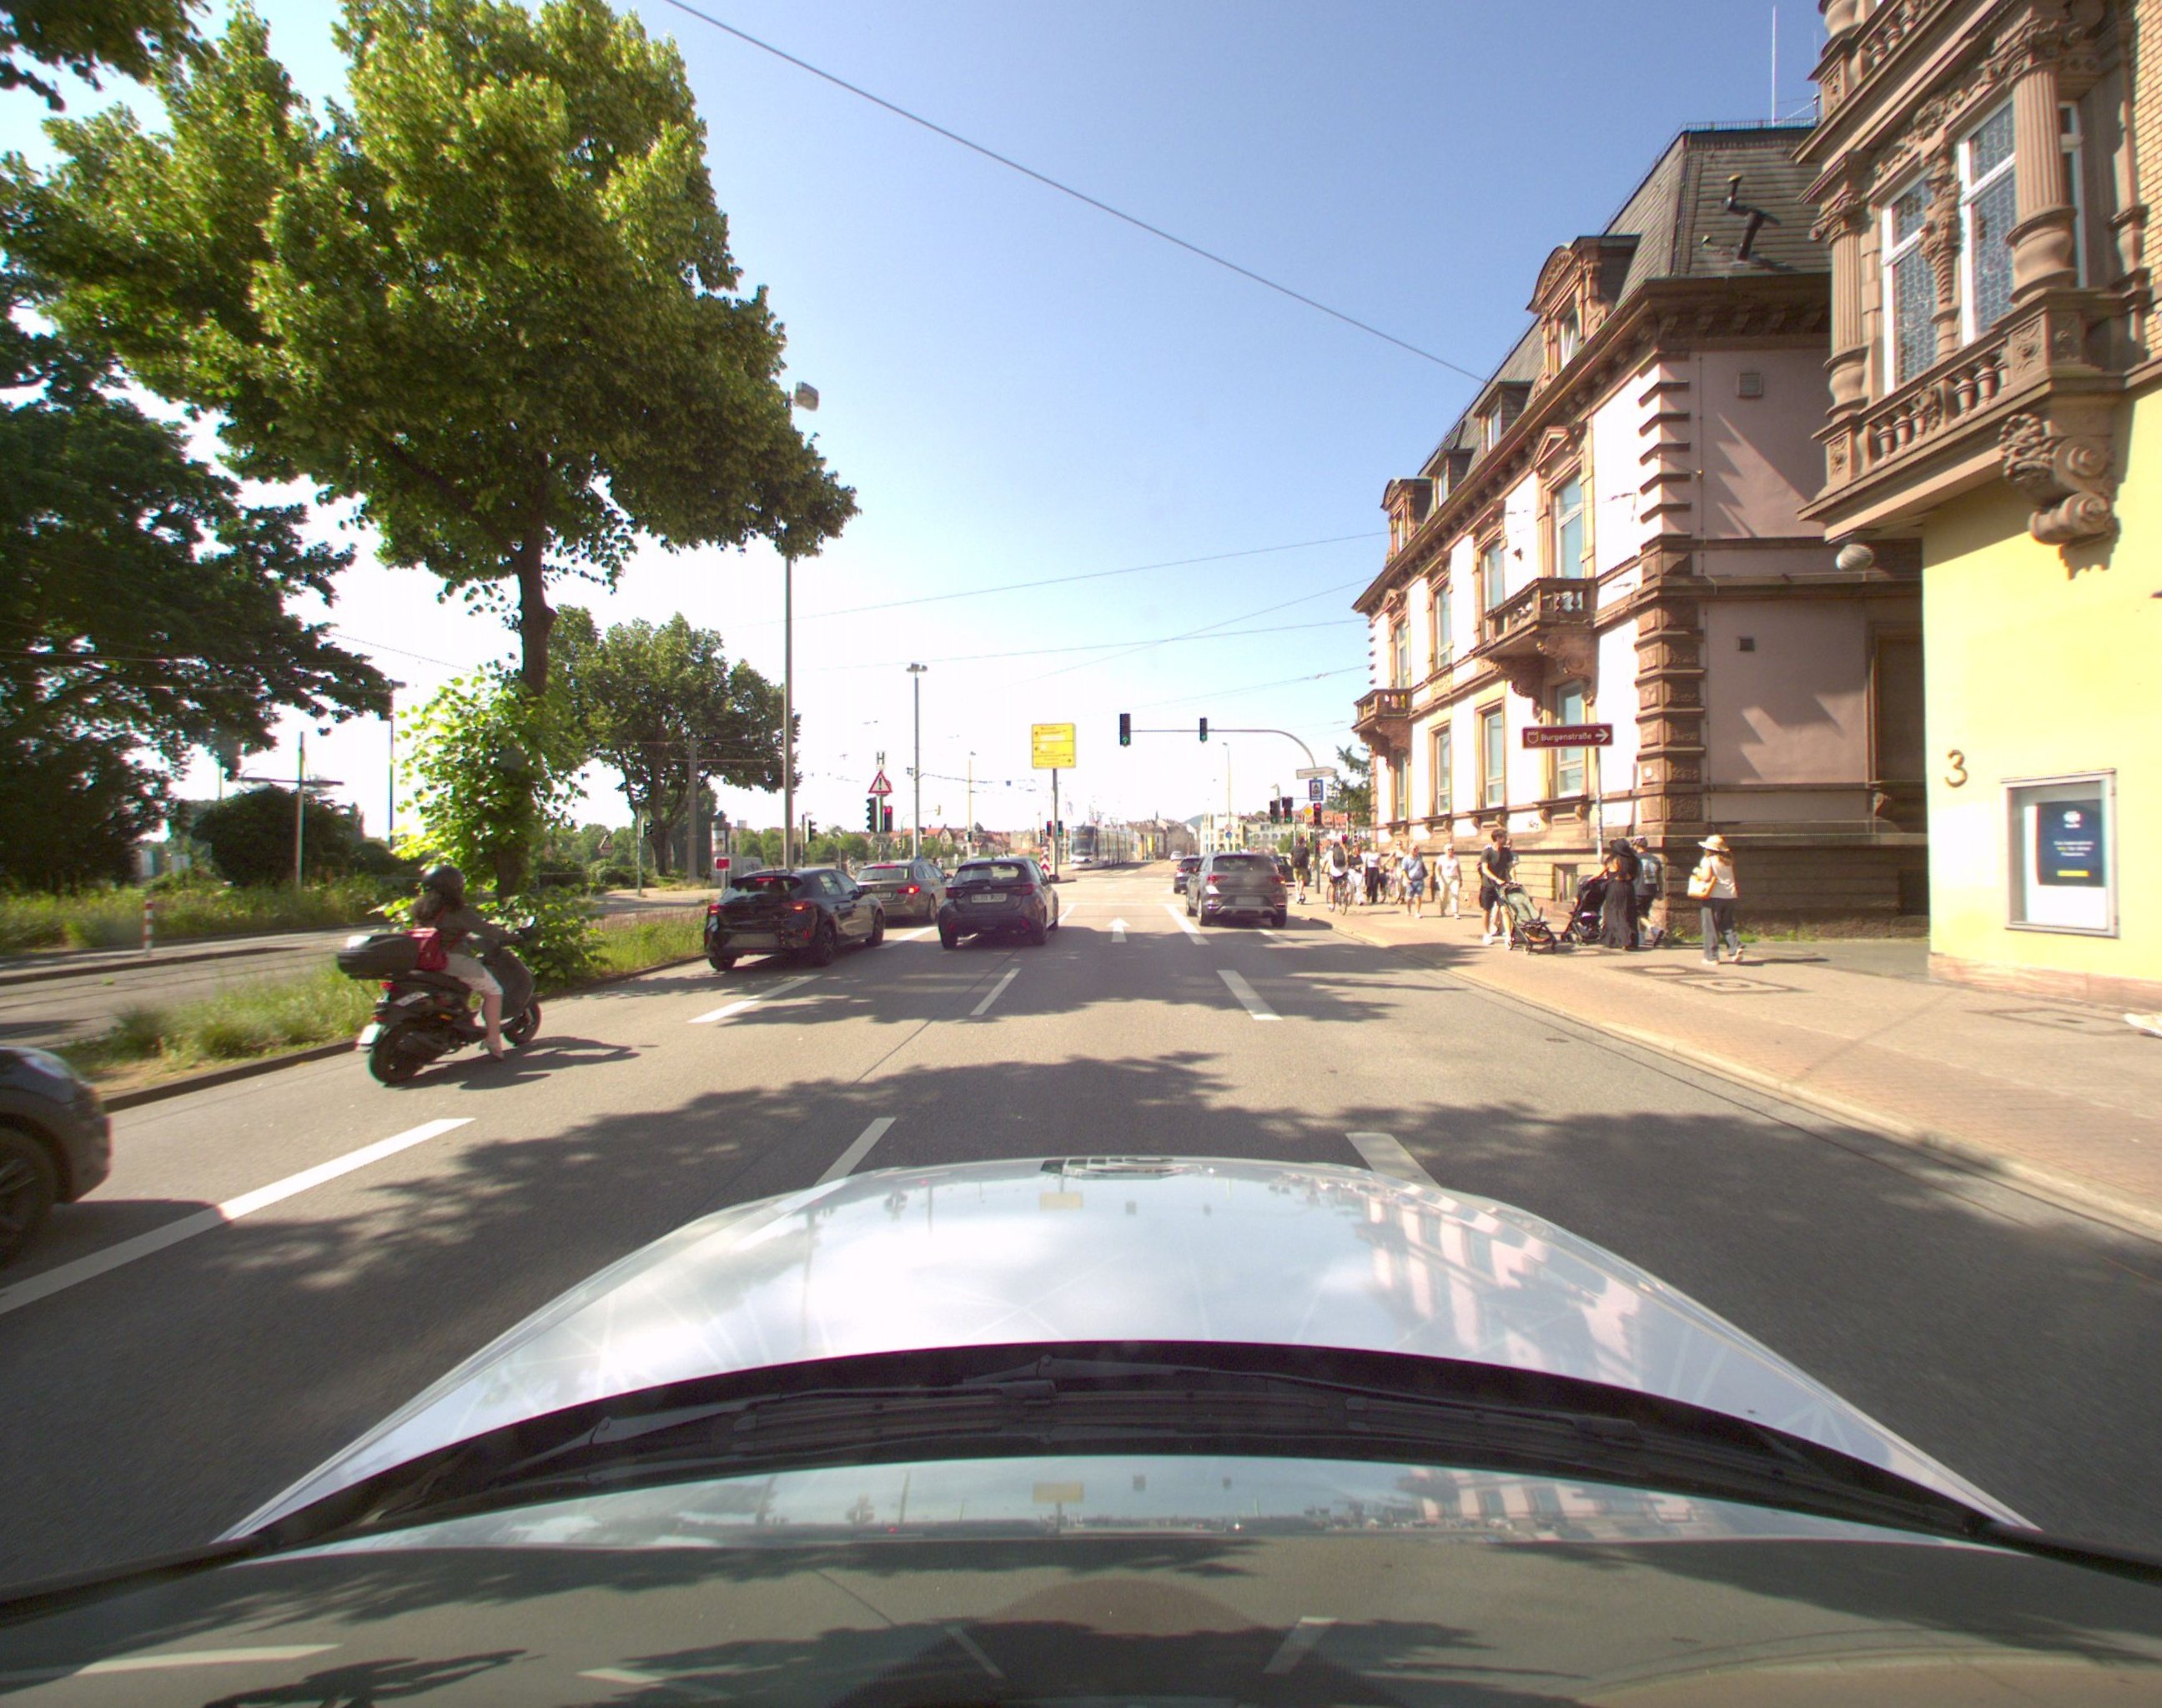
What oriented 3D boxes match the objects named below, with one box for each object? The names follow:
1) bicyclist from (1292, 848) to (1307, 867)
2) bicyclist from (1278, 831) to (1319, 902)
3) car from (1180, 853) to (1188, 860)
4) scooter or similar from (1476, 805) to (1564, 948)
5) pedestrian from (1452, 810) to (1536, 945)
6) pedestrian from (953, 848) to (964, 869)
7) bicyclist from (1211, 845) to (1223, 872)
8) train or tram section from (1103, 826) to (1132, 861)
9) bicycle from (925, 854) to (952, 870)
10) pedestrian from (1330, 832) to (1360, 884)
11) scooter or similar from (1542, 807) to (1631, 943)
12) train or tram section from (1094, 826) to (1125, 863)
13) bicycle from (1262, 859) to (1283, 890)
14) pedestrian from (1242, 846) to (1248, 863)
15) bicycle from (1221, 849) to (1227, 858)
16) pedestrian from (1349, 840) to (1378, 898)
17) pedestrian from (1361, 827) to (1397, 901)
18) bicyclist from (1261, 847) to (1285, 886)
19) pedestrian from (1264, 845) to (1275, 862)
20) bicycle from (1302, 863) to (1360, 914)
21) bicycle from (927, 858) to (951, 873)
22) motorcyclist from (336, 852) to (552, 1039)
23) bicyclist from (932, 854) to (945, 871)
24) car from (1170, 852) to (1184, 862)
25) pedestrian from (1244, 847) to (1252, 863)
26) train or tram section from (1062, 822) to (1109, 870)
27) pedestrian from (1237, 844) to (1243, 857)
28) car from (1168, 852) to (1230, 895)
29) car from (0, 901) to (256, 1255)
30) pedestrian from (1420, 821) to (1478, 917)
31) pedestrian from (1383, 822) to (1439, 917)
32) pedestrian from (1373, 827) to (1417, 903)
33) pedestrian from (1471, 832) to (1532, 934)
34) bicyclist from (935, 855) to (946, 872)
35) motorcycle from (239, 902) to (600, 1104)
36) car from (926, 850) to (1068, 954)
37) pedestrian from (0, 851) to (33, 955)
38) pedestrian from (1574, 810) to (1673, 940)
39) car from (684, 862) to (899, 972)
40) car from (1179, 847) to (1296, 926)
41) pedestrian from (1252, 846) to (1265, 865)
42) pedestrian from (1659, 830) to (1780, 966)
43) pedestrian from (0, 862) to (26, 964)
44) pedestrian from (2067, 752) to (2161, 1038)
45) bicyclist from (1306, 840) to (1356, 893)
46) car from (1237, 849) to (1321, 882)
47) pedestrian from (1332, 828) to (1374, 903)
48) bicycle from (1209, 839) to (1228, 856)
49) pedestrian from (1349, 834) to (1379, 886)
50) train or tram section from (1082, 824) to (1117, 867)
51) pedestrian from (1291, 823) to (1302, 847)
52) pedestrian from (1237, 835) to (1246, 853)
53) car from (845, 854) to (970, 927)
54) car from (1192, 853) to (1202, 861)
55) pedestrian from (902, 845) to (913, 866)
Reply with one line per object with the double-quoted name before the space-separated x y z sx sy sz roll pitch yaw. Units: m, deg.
"bicyclist" 16.758 0.256 62.563 1.073 1.474 0.803 1 1 11
"bicyclist" 6.329 0.370 23.755 0.938 2.013 0.830 -1 0 1
"car" 25.935 0.742 205.468 1.984 1.717 4.006 0 -1 5
"scooter or similar" 6.481 0.318 12.073 0.689 2.013 1.096 -1 0 2
"pedestrian" 6.515 0.359 12.884 0.809 2.013 0.816 -3 0 1
"pedestrian" -11.530 0.430 76.636 0.900 2.013 0.830 -1 0 -15
"bicyclist" 8.792 0.304 52.661 0.670 1.744 1.151 -1 0 3
"train or tram section" 4.375 -1.259 96.482 2.457 3.777 11.874 -1 1 7
"bicycle" -12.114 0.660 69.172 2.241 1.279 0.736 -2 0 -15
"pedestrian" 9.073 0.152 28.041 0.703 1.753 0.903 -1 -1 1
"scooter or similar" 7.887 0.312 12.746 0.689 2.013 1.096 -1 0 2
"train or tram section" 3.132 -1.049 86.959 2.391 3.681 9.639 -1 1 7
"bicycle" 7.719 0.801 32.909 0.611 1.164 2.254 0 0 8
"pedestrian" 17.692 0.062 87.863 0.547 1.799 0.646 0 -1 1
"bicycle" 21.445 -0.085 121.962 0.692 1.193 2.081 -1 -1 4
"pedestrian" 9.298 0.479 26.860 0.632 1.891 0.903 -1 0 1
"pedestrian" 8.371 0.285 22.922 0.658 2.013 0.700 -3 0 1
"bicyclist" 7.708 0.490 32.741 0.771 1.553 1.061 -1 0 6
"pedestrian" 17.700 -0.056 76.506 0.796 1.635 0.950 -1 0 1
"bicycle" 5.983 0.802 19.620 0.776 1.102 2.139 -1 0 1
"bicycle" -12.241 1.016 69.978 1.972 1.209 0.636 -1 0 -15
"motorcyclist" -5.032 0.674 6.516 0.897 1.358 0.993 -1 0 1
"bicyclist" -12.139 0.697 69.206 1.005 1.449 0.812 -1 0 -15
"car" 14.023 0.461 118.734 1.795 1.469 4.005 -2 -1 5
"pedestrian" 18.165 0.099 88.572 0.693 1.716 0.732 0 -1 1
"train or tram section" 0.526 -0.704 68.925 2.522 3.777 9.194 -1 1 9
"pedestrian" 22.150 -0.461 113.683 0.652 1.743 0.979 0 1 2
"car" 4.441 0.687 31.233 1.985 1.486 4.004 -1 0 3
"car" -5.073 0.930 2.148 1.626 1.308 3.918 -2 0 3
"pedestrian" 8.059 0.328 17.867 0.809 2.013 0.816 -3 0 1
"pedestrian" 7.342 0.334 18.154 0.809 2.013 0.816 -3 0 1
"pedestrian" 8.557 0.294 22.220 0.809 2.013 0.816 -3 0 1
"pedestrian" 7.247 0.494 14.062 0.702 1.695 0.629 -1 -1 5
"bicyclist" -12.064 0.817 70.032 0.825 1.493 0.872 -1 0 -15
"motorcycle" -5.052 1.049 6.538 0.897 1.163 2.354 -1 0 2
"car" -1.379 0.763 14.949 1.902 1.540 4.003 -3 0 3
"pedestrian" -22.945 1.033 17.024 1.117 2.151 0.804 -1 0 9
"pedestrian" 7.888 0.291 11.878 0.809 1.793 0.816 -3 0 1
"car" -4.412 0.885 13.130 1.785 1.411 4.004 -1 0 3
"car" 3.308 0.631 17.986 1.922 1.516 3.995 1 0 2
"pedestrian" 16.714 0.163 76.791 0.981 1.750 0.930 0 -1 1
"pedestrian" 7.996 0.533 10.245 0.809 1.602 0.816 -3 0 1
"pedestrian" -21.864 1.177 16.038 1.214 2.013 0.804 -1 0 9
"pedestrian" 8.000 0.270 5.823 0.809 2.013 0.816 -3 0 1
"bicyclist" 5.973 0.298 19.505 0.917 1.219 0.972 -1 0 1
"car" 9.514 0.498 39.009 4.022 1.436 1.976 -2 2 -42
"pedestrian" 7.543 0.320 22.626 0.809 2.013 0.816 -3 0 1
"bicycle" 9.014 -0.416 53.494 0.789 1.096 3.748 -1 0 3
"pedestrian" 9.833 0.201 28.286 0.703 1.769 0.903 -1 0 1
"train or tram section" 1.875 -0.820 77.775 2.524 3.777 9.185 -1 1 6
"pedestrian" 16.777 -1.473 63.332 0.769 1.855 0.646 -1 0 10
"pedestrian" 17.726 -1.116 89.900 0.800 2.014 0.955 0 -1 1
"car" -4.066 0.795 19.932 1.740 1.486 4.752 -2 0 3
"car" 22.070 0.560 154.936 1.793 1.469 4.011 -2 -1 10
"pedestrian" -14.351 0.148 67.240 0.836 1.697 1.092 -1 0 -15
